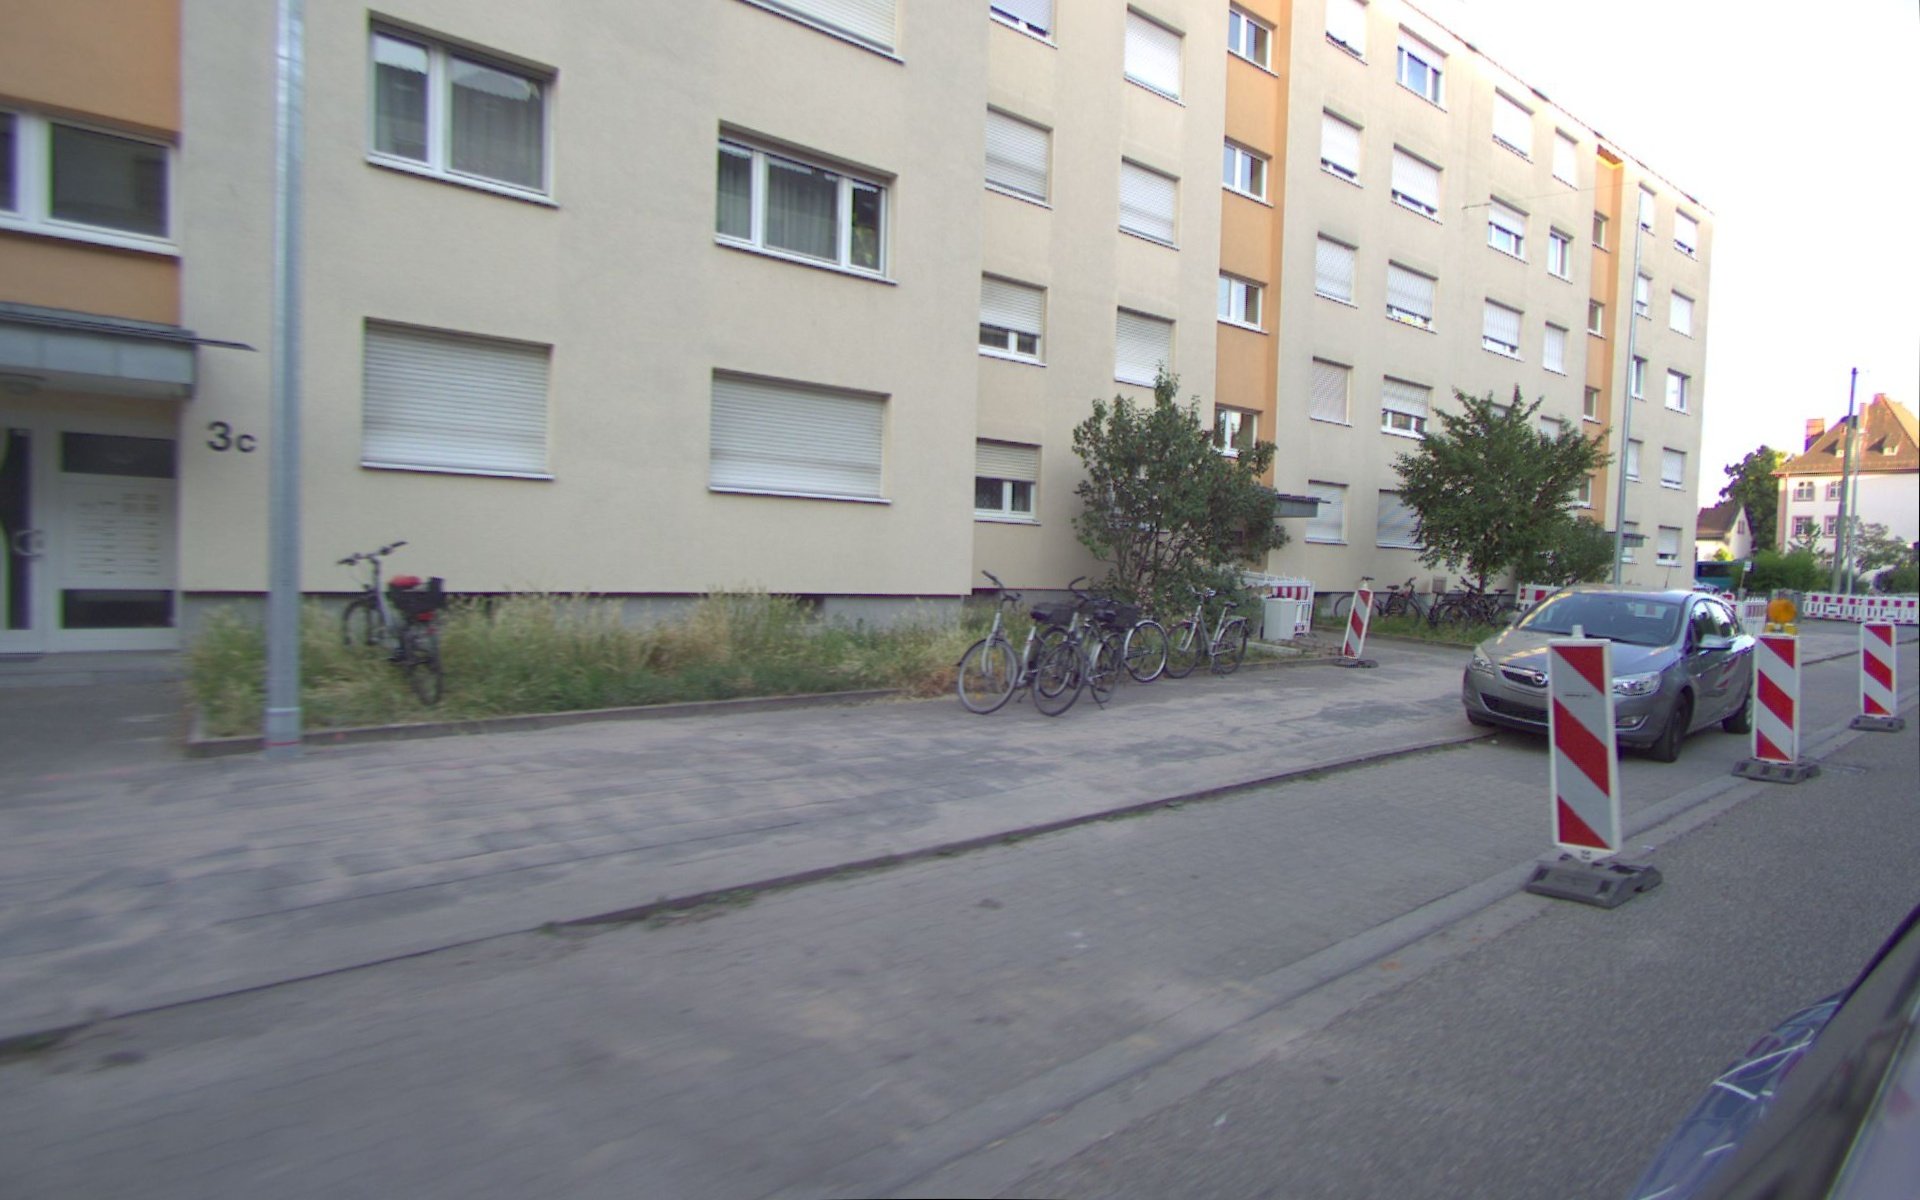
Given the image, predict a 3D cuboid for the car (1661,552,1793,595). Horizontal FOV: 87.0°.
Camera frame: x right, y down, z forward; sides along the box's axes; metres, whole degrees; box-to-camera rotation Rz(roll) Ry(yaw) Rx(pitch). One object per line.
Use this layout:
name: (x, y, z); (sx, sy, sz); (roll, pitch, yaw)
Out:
car: (40.244, -1.418, 53.220); (2.245, 2.156, 5.042); (0, 2, -32)

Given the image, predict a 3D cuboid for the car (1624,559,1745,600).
car: (36.112, -1.072, 50.550); (1.968, 1.832, 4.492); (0, 3, -38)

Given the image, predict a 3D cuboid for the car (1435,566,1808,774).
car: (6.779, 0.527, 10.178); (4.492, 1.508, 1.782); (0, 6, -40)

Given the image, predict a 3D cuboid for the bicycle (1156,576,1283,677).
bicycle: (3.300, 0.306, 12.786); (1.783, 1.186, 0.557); (0, 2, -38)

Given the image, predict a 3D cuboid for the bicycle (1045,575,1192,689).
bicycle: (1.811, 0.329, 11.430); (1.783, 1.186, 0.557); (0, 2, -38)

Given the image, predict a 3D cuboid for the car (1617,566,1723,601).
car: (34.171, -0.811, 48.800); (1.664, 1.470, 3.842); (0, 3, -38)

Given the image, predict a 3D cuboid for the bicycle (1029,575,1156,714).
bicycle: (1.310, 0.366, 9.686); (0.553, 1.186, 1.798); (2, 2, 29)

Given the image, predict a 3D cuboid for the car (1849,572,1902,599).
car: (60.025, -0.948, 66.348); (4.722, 1.650, 1.919); (0, 3, -40)

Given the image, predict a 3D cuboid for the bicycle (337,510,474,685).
bicycle: (-4.334, -0.049, 7.861); (1.593, 1.237, 0.477); (3, 2, 44)

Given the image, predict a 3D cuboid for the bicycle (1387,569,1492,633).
bicycle: (9.351, -0.003, 19.817); (0.547, 0.998, 1.763); (0, 7, -31)

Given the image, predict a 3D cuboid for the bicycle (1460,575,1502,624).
bicycle: (11.341, -0.025, 22.068); (0.551, 0.874, 1.604); (6, 7, 21)

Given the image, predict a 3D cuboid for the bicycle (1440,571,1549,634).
bicycle: (10.877, 0.026, 20.647); (0.548, 1.034, 1.817); (-1, 8, -39)

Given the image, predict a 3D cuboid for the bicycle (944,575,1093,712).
bicycle: (0.605, 0.360, 9.763); (0.623, 1.186, 1.795); (2, 2, 33)

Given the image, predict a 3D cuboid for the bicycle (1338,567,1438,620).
bicycle: (9.106, -0.146, 21.574); (1.787, 0.931, 0.557); (5, 6, 9)
